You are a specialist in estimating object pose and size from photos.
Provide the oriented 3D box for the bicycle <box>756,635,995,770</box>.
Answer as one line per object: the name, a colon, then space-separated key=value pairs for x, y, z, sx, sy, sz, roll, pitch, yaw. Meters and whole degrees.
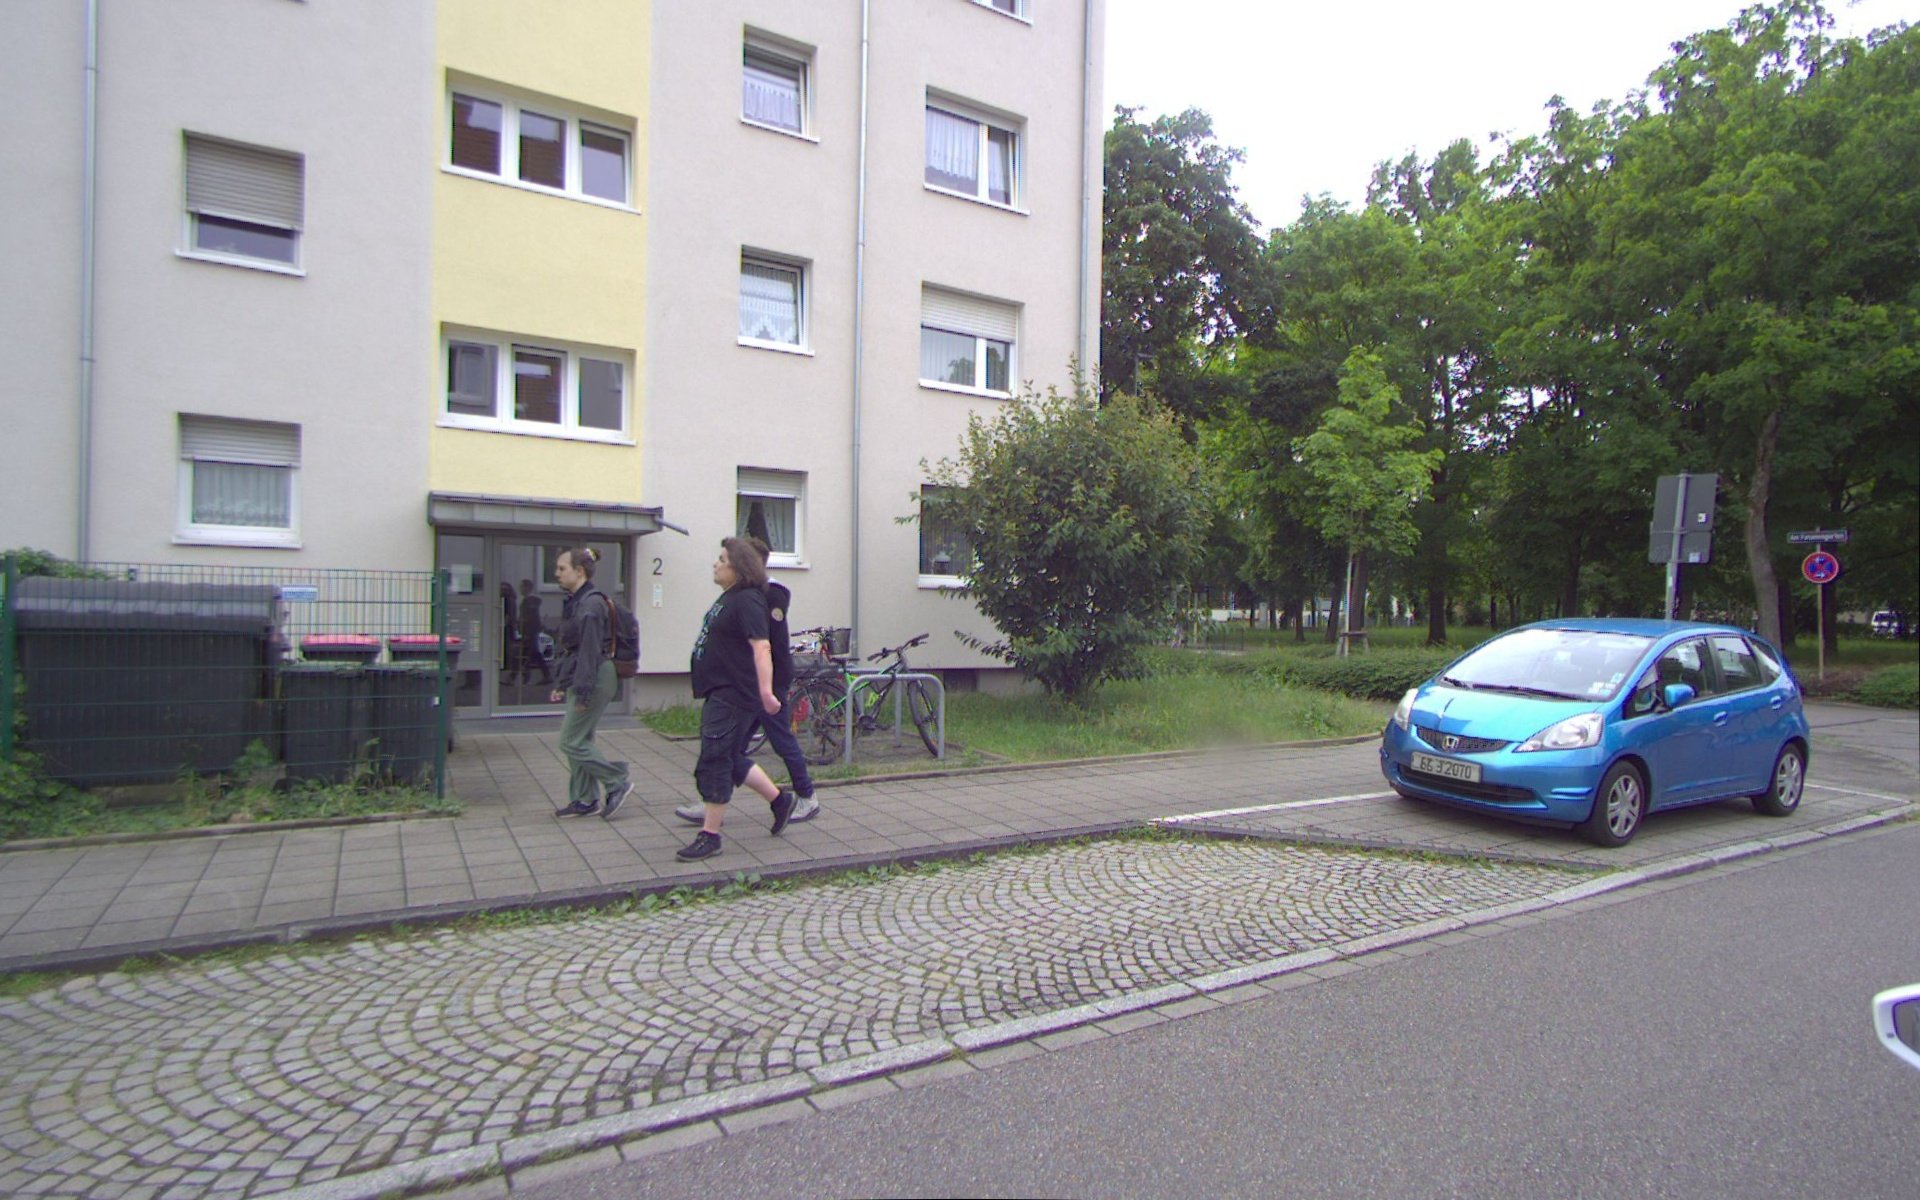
bicycle: x=-0.744 y=0.881 z=9.156 sx=2.097 sy=1.082 sz=0.654 roll=1 pitch=0 yaw=-30

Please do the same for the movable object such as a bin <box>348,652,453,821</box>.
movable object such as a bin: x=-3.786 y=0.890 z=6.793 sx=0.591 sy=1.047 sz=0.534 roll=1 pitch=0 yaw=-32

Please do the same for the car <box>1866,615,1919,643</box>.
car: x=57.318 y=1.747 z=61.450 sx=3.959 sy=1.639 sz=1.906 roll=1 pitch=-1 yaw=-34

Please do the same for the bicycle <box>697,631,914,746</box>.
bicycle: x=-1.584 y=0.878 z=10.488 sx=2.149 sy=1.085 sz=0.654 roll=1 pitch=0 yaw=-30

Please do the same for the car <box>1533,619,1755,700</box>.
car: x=14.107 y=1.164 z=20.893 sx=1.549 sy=1.456 sz=3.514 roll=1 pitch=0 yaw=-31

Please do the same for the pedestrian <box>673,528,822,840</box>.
pedestrian: x=-1.392 y=0.514 z=6.547 sx=0.754 sy=1.879 sz=0.703 roll=1 pitch=0 yaw=-30

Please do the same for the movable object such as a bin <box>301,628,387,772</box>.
movable object such as a bin: x=-5.239 y=0.815 z=8.551 sx=0.591 sy=1.131 sz=0.837 roll=1 pitch=0 yaw=-32

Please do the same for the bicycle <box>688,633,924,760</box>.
bicycle: x=-1.446 y=0.870 z=9.622 sx=2.149 sy=1.085 sz=0.654 roll=1 pitch=0 yaw=-30

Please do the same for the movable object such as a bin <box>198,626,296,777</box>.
movable object such as a bin: x=-5.790 y=0.790 z=8.193 sx=0.591 sy=1.131 sz=0.837 roll=1 pitch=0 yaw=-32

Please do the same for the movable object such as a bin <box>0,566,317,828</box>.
movable object such as a bin: x=-5.181 y=0.538 z=6.501 sx=1.652 sy=1.440 sz=1.581 roll=1 pitch=0 yaw=-31

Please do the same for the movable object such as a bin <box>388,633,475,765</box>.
movable object such as a bin: x=-4.662 y=0.837 z=8.845 sx=0.627 sy=1.065 sz=0.859 roll=1 pitch=0 yaw=-32

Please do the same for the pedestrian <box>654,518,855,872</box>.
pedestrian: x=-1.206 y=0.507 z=5.860 sx=0.963 sy=1.888 sz=0.637 roll=1 pitch=2 yaw=-31

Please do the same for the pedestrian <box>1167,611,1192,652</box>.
pedestrian: x=8.550 y=1.215 z=39.168 sx=0.648 sy=1.604 sz=0.693 roll=0 pitch=0 yaw=-28

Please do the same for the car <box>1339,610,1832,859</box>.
car: x=5.081 y=0.886 z=8.064 sx=3.911 sy=1.482 sz=1.721 roll=1 pitch=2 yaw=-31

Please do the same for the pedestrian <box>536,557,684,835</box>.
pedestrian: x=-2.284 y=0.587 z=6.538 sx=0.794 sy=1.679 sz=0.611 roll=1 pitch=0 yaw=-31
